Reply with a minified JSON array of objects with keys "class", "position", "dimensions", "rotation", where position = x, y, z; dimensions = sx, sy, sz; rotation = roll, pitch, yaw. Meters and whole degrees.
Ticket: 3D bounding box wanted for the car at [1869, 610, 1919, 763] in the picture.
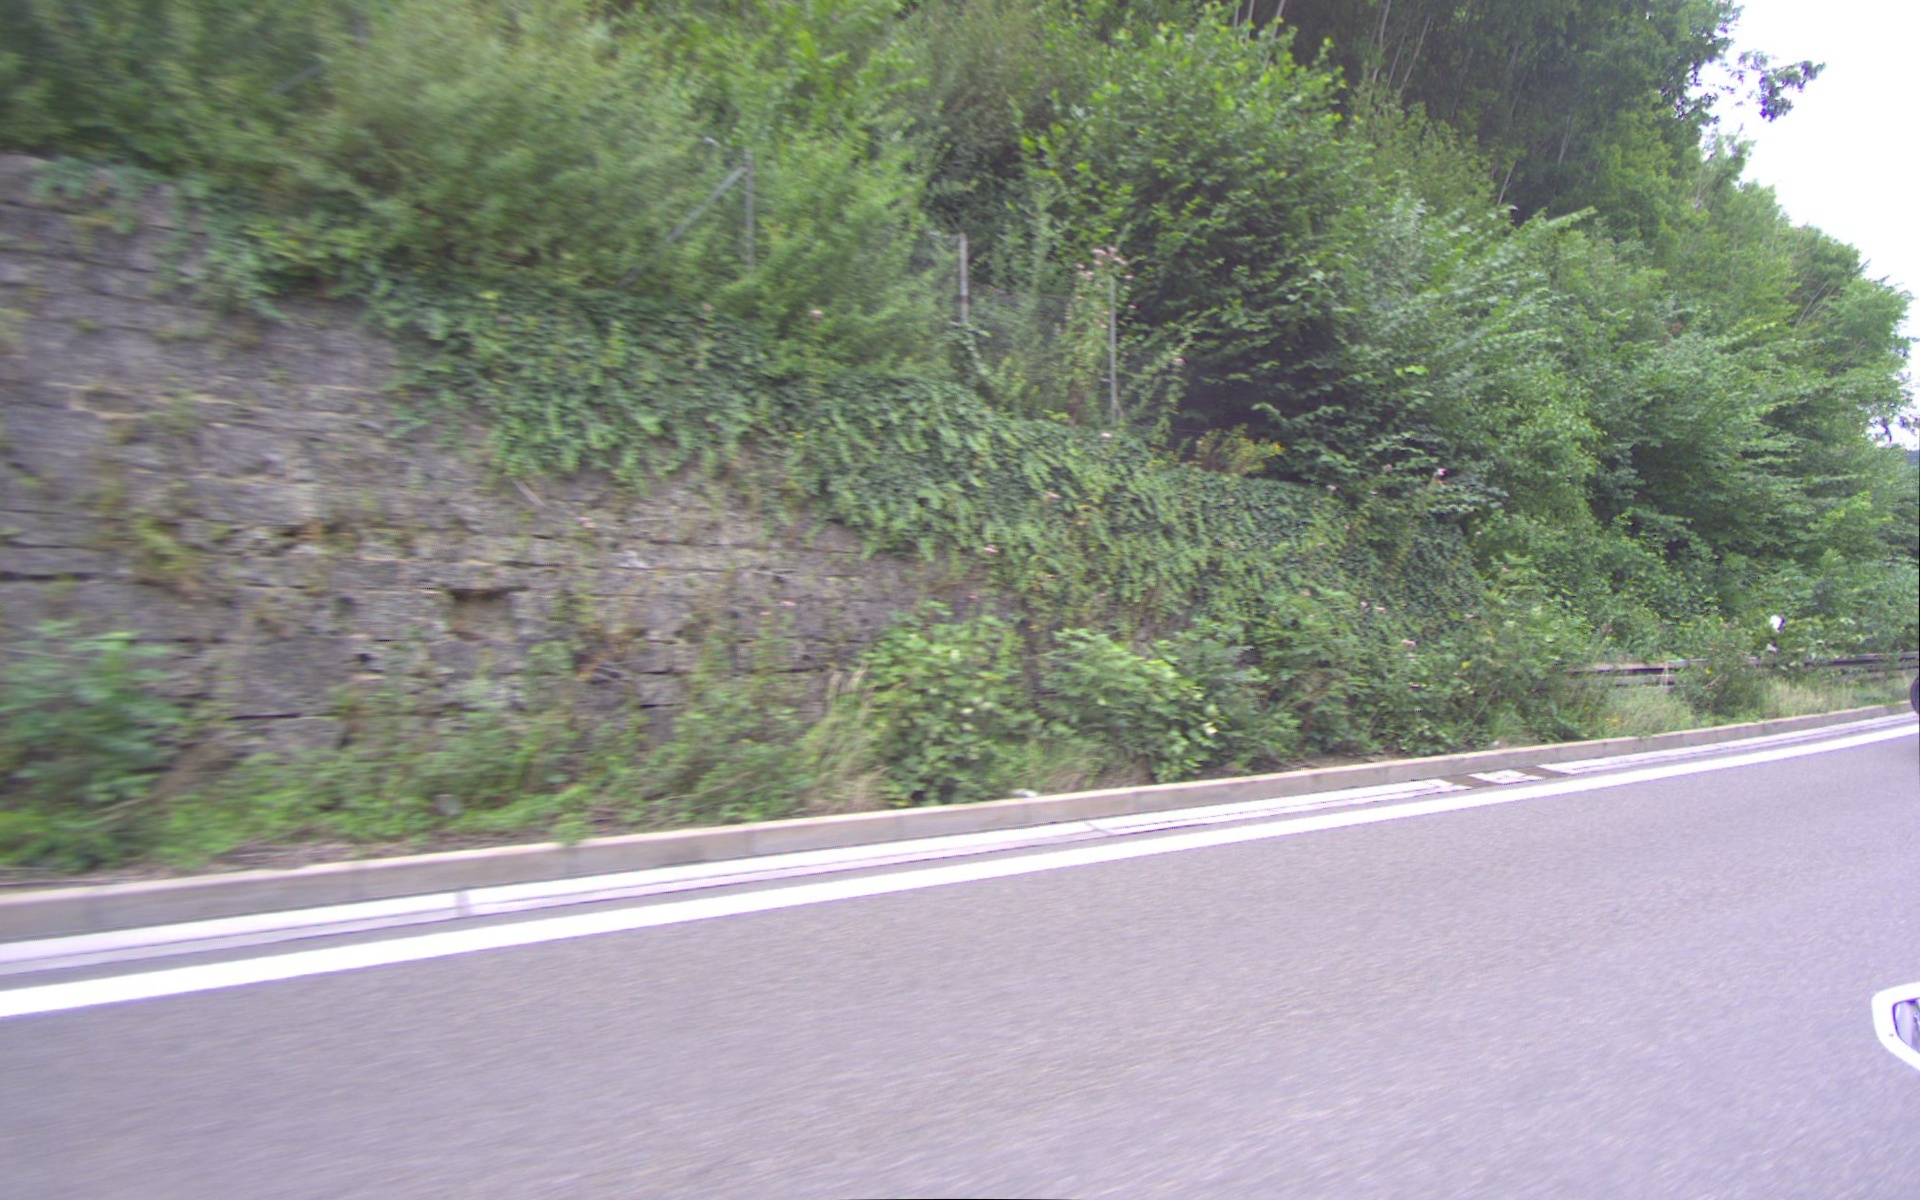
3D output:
[{"class":"car","position":[12.957,1.074,11.904],"dimensions":[5.529,1.614,1.958],"rotation":[2,2,-35]}]
